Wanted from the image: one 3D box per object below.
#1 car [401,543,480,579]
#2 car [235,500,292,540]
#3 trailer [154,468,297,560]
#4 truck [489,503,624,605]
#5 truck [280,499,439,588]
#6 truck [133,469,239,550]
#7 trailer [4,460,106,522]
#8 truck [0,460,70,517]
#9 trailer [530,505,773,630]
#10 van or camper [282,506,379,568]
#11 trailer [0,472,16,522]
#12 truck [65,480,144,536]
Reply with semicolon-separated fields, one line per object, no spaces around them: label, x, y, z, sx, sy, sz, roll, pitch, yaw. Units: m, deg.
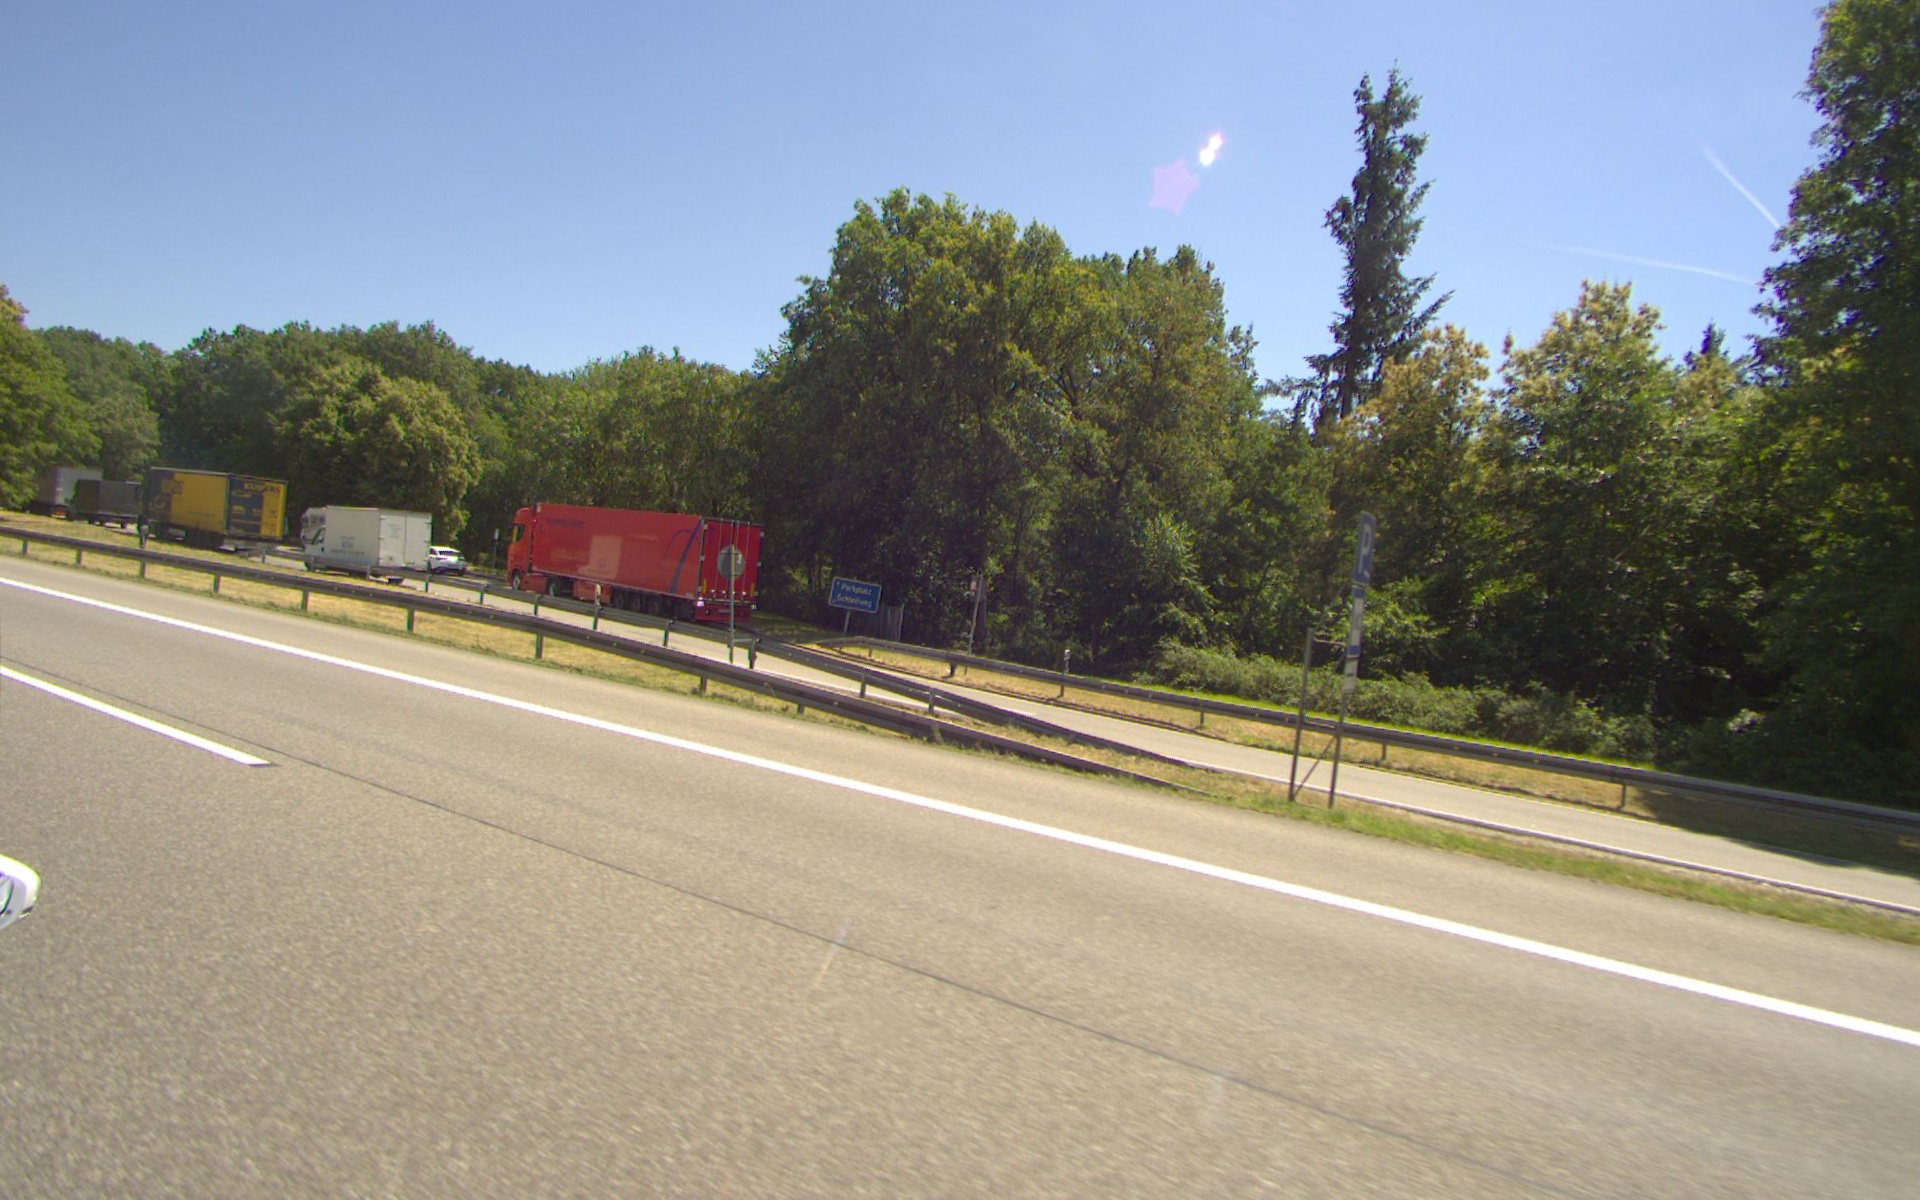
car;-28.085;-2.118;54.344;4.962;1.469;1.991;6;0;41
car;-50.700;-5.831;73.167;4.709;2.469;1.992;7;0;39
trailer;-38.930;-4.629;53.048;11.384;3.982;3.182;6;-1;40
truck;-18.277;-2.138;45.410;6.331;3.929;2.973;7;0;44
truck;-25.345;-2.418;42.324;7.535;2.981;2.471;6;-1;33
truck;-44.513;-5.233;57.808;6.522;3.982;3.182;6;-1;40
trailer;-68.044;-8.254;75.465;13.162;3.834;3.103;6;-2;38
truck;-73.291;-8.835;79.586;5.237;3.834;3.089;7;-1;38
trailer;-12.701;-1.483;40.146;12.713;3.926;2.974;6;0;43
van or camper;-40.321;-4.079;64.324;6.898;3.274;2.996;6;0;39
trailer;-85.550;-9.306;85.611;13.950;4.002;3.141;7;0;28
truck;-57.742;-6.252;67.859;6.516;3.122;2.469;6;-1;37
